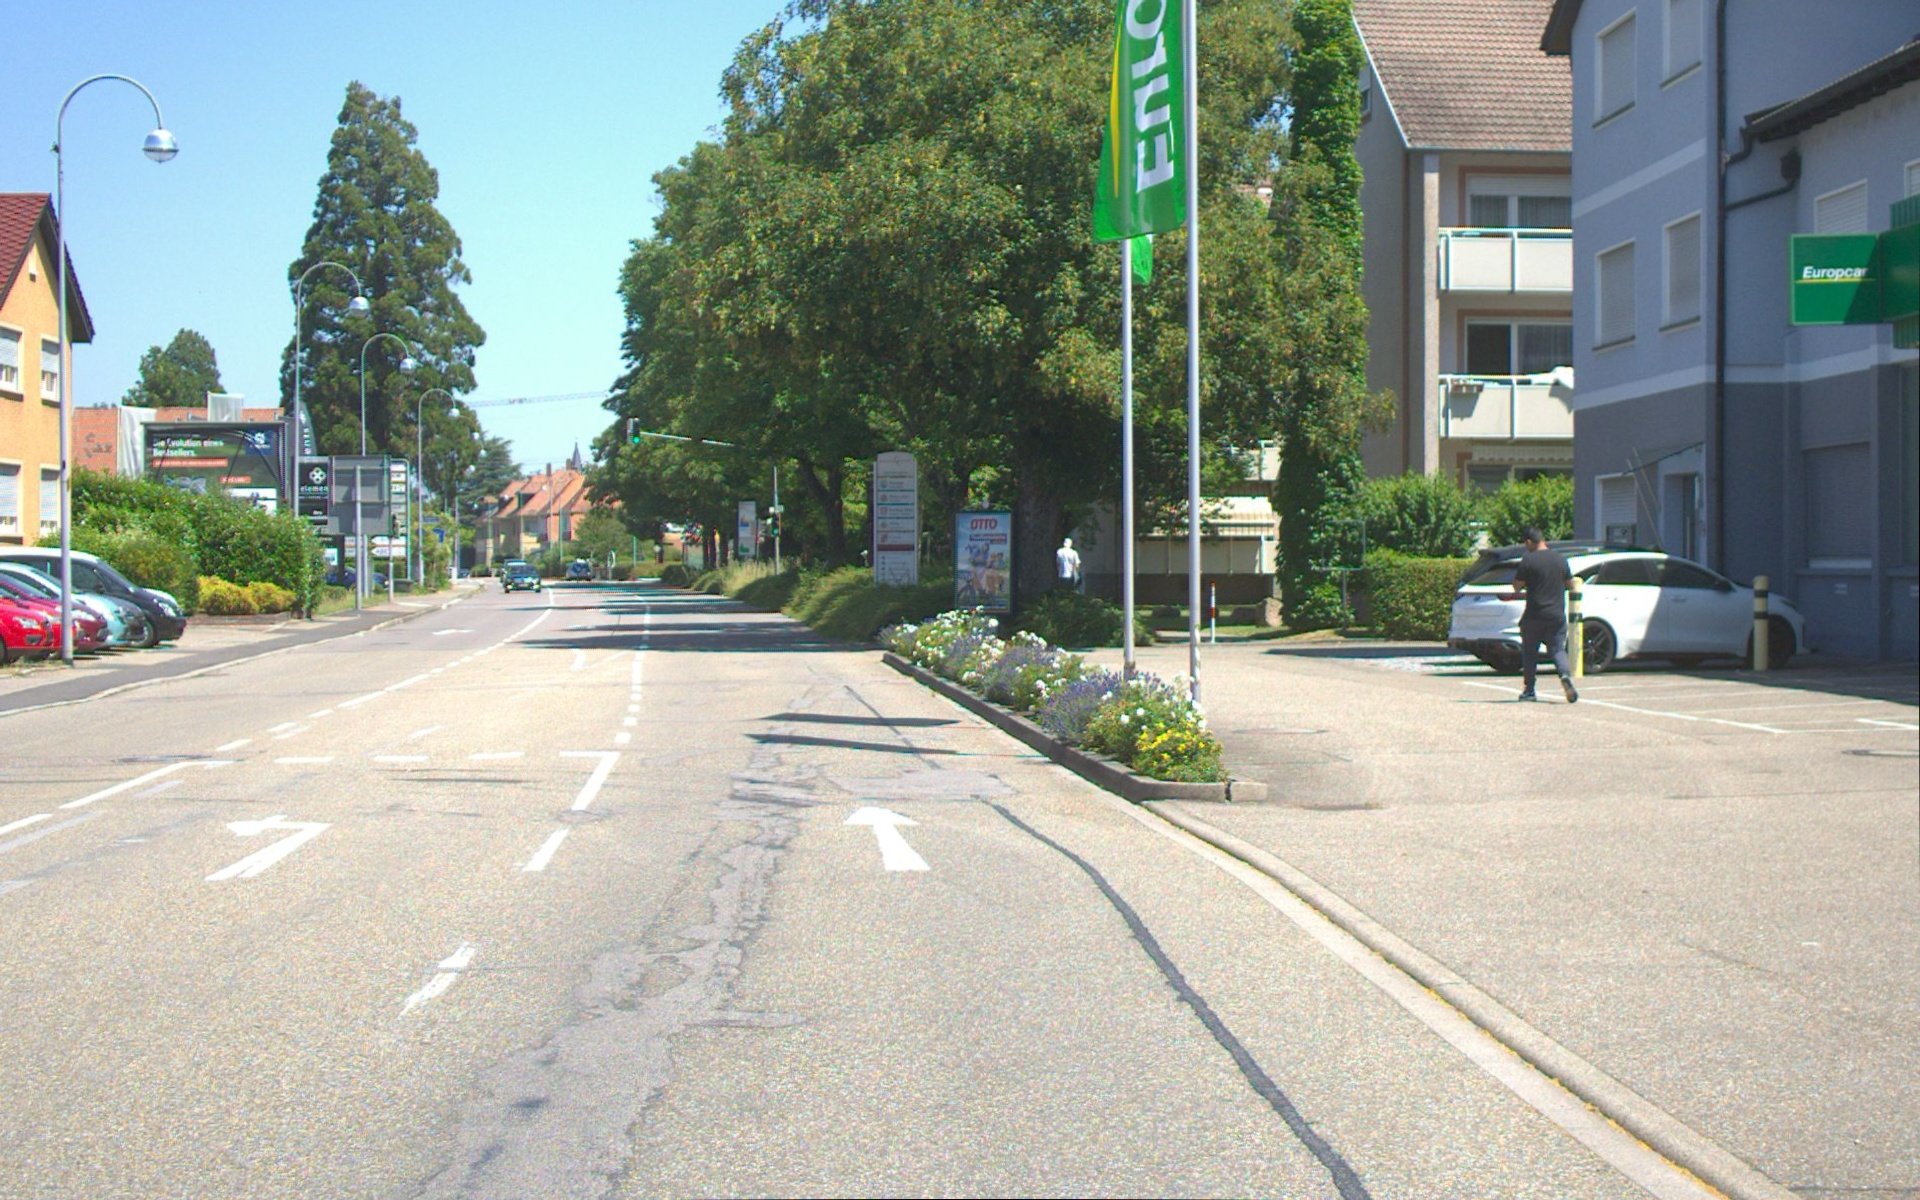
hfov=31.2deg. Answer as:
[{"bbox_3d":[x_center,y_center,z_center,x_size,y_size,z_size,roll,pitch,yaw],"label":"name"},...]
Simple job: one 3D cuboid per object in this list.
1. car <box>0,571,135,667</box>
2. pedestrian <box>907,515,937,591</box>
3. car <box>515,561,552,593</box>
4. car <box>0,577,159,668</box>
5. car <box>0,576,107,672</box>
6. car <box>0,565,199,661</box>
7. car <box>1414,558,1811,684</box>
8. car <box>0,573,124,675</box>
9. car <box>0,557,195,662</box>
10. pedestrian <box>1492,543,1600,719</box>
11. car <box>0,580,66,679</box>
[{"bbox_3d":[-16.035,0.328,58.483,3.663,1.575,1.923,-1,1,-7],"label":"car"},{"bbox_3d":[-0.972,-1.201,87.934,0.703,1.908,0.660,-1,1,-1],"label":"pedestrian"},{"bbox_3d":[-21.132,-1.151,170.446,1.709,1.490,4.278,-1,2,-5],"label":"car"},{"bbox_3d":[-16.120,0.390,60.596,3.663,1.526,1.923,-1,1,-7],"label":"car"},{"bbox_3d":[-15.359,0.386,53.811,3.663,1.452,1.893,-1,1,-7],"label":"car"},{"bbox_3d":[-15.910,0.231,62.891,3.663,1.667,1.923,-1,1,-7],"label":"car"},{"bbox_3d":[7.781,0.221,40.955,4.343,1.366,1.956,-1,1,-27],"label":"car"},{"bbox_3d":[-15.703,0.394,56.315,3.663,1.599,1.882,-1,1,-7],"label":"car"},{"bbox_3d":[-16.621,0.167,64.935,4.093,1.891,2.001,-1,1,-9],"label":"car"},{"bbox_3d":[5.592,0.285,32.852,0.840,1.635,1.010,-1,1,0],"label":"pedestrian"},{"bbox_3d":[-15.642,0.462,51.394,4.125,1.439,1.827,-1,1,-5],"label":"car"}]
